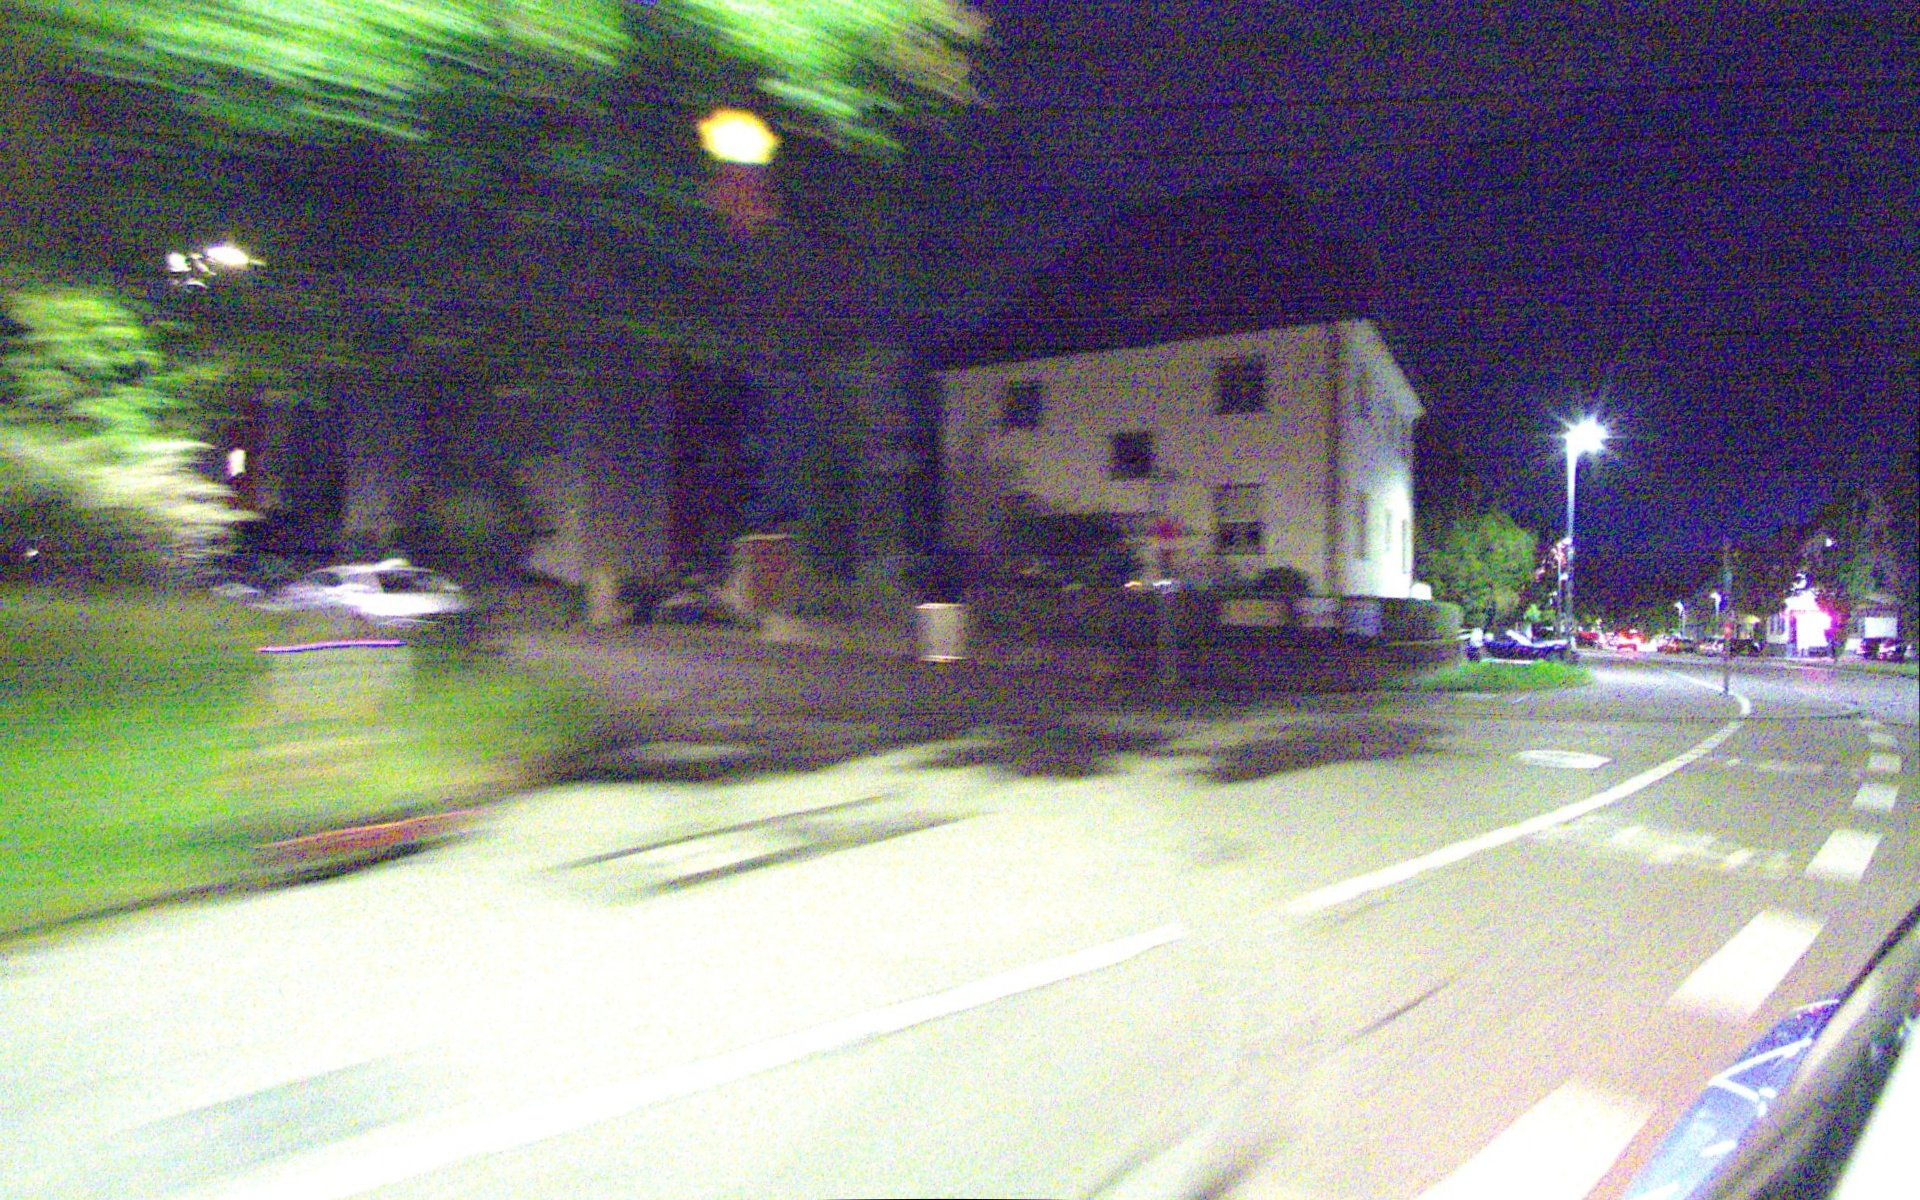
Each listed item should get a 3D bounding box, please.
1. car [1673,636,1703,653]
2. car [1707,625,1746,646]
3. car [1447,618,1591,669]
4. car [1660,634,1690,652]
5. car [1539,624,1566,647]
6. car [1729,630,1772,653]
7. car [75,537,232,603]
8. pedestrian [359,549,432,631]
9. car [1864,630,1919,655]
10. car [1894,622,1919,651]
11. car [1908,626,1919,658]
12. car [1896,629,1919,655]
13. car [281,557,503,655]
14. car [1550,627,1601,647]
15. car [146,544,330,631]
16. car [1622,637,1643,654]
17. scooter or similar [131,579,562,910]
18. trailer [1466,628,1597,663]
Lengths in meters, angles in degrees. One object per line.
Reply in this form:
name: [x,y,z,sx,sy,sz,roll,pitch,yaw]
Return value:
car: [75.362,4.603,104.805,2.104,1.692,4.125,0,-2,29]
car: [62.400,2.919,82.454,1.918,1.658,4.422,0,-2,30]
car: [15.416,1.183,28.006,3.374,1.248,1.706,1,-1,30]
car: [78.264,4.733,110.893,2.104,1.972,4.836,-2,-3,29]
car: [43.819,2.645,74.872,1.631,1.580,3.638,2,-1,30]
car: [53.945,2.836,69.126,1.740,1.488,3.965,0,-2,30]
car: [-19.834,-0.753,24.858,3.974,1.471,1.975,3,2,35]
pedestrian: [-12.089,-0.221,21.670,1.319,1.698,0.678,1,-1,24]
car: [63.937,2.885,68.018,4.280,1.582,2.012,1,-1,25]
car: [59.204,2.278,60.827,4.100,1.683,1.976,3,0,33]
car: [55.178,2.458,55.664,3.959,1.724,1.931,4,0,25]
car: [62.675,2.764,64.669,3.974,1.639,1.974,1,-2,35]
car: [-10.072,0.047,17.874,3.875,1.471,1.922,3,2,35]
car: [63.351,3.839,104.171,4.345,1.839,2.003,2,-1,37]
car: [-15.465,-0.303,21.641,3.974,1.652,1.975,3,2,35]
car: [81.142,5.457,122.104,1.994,1.771,4.504,1,-4,32]
scooter or similar: [-2.823,0.583,4.866,0.608,1.297,1.672,0,-2,29]
trailer: [17.710,1.426,31.431,3.415,1.015,1.932,-3,-3,32]
